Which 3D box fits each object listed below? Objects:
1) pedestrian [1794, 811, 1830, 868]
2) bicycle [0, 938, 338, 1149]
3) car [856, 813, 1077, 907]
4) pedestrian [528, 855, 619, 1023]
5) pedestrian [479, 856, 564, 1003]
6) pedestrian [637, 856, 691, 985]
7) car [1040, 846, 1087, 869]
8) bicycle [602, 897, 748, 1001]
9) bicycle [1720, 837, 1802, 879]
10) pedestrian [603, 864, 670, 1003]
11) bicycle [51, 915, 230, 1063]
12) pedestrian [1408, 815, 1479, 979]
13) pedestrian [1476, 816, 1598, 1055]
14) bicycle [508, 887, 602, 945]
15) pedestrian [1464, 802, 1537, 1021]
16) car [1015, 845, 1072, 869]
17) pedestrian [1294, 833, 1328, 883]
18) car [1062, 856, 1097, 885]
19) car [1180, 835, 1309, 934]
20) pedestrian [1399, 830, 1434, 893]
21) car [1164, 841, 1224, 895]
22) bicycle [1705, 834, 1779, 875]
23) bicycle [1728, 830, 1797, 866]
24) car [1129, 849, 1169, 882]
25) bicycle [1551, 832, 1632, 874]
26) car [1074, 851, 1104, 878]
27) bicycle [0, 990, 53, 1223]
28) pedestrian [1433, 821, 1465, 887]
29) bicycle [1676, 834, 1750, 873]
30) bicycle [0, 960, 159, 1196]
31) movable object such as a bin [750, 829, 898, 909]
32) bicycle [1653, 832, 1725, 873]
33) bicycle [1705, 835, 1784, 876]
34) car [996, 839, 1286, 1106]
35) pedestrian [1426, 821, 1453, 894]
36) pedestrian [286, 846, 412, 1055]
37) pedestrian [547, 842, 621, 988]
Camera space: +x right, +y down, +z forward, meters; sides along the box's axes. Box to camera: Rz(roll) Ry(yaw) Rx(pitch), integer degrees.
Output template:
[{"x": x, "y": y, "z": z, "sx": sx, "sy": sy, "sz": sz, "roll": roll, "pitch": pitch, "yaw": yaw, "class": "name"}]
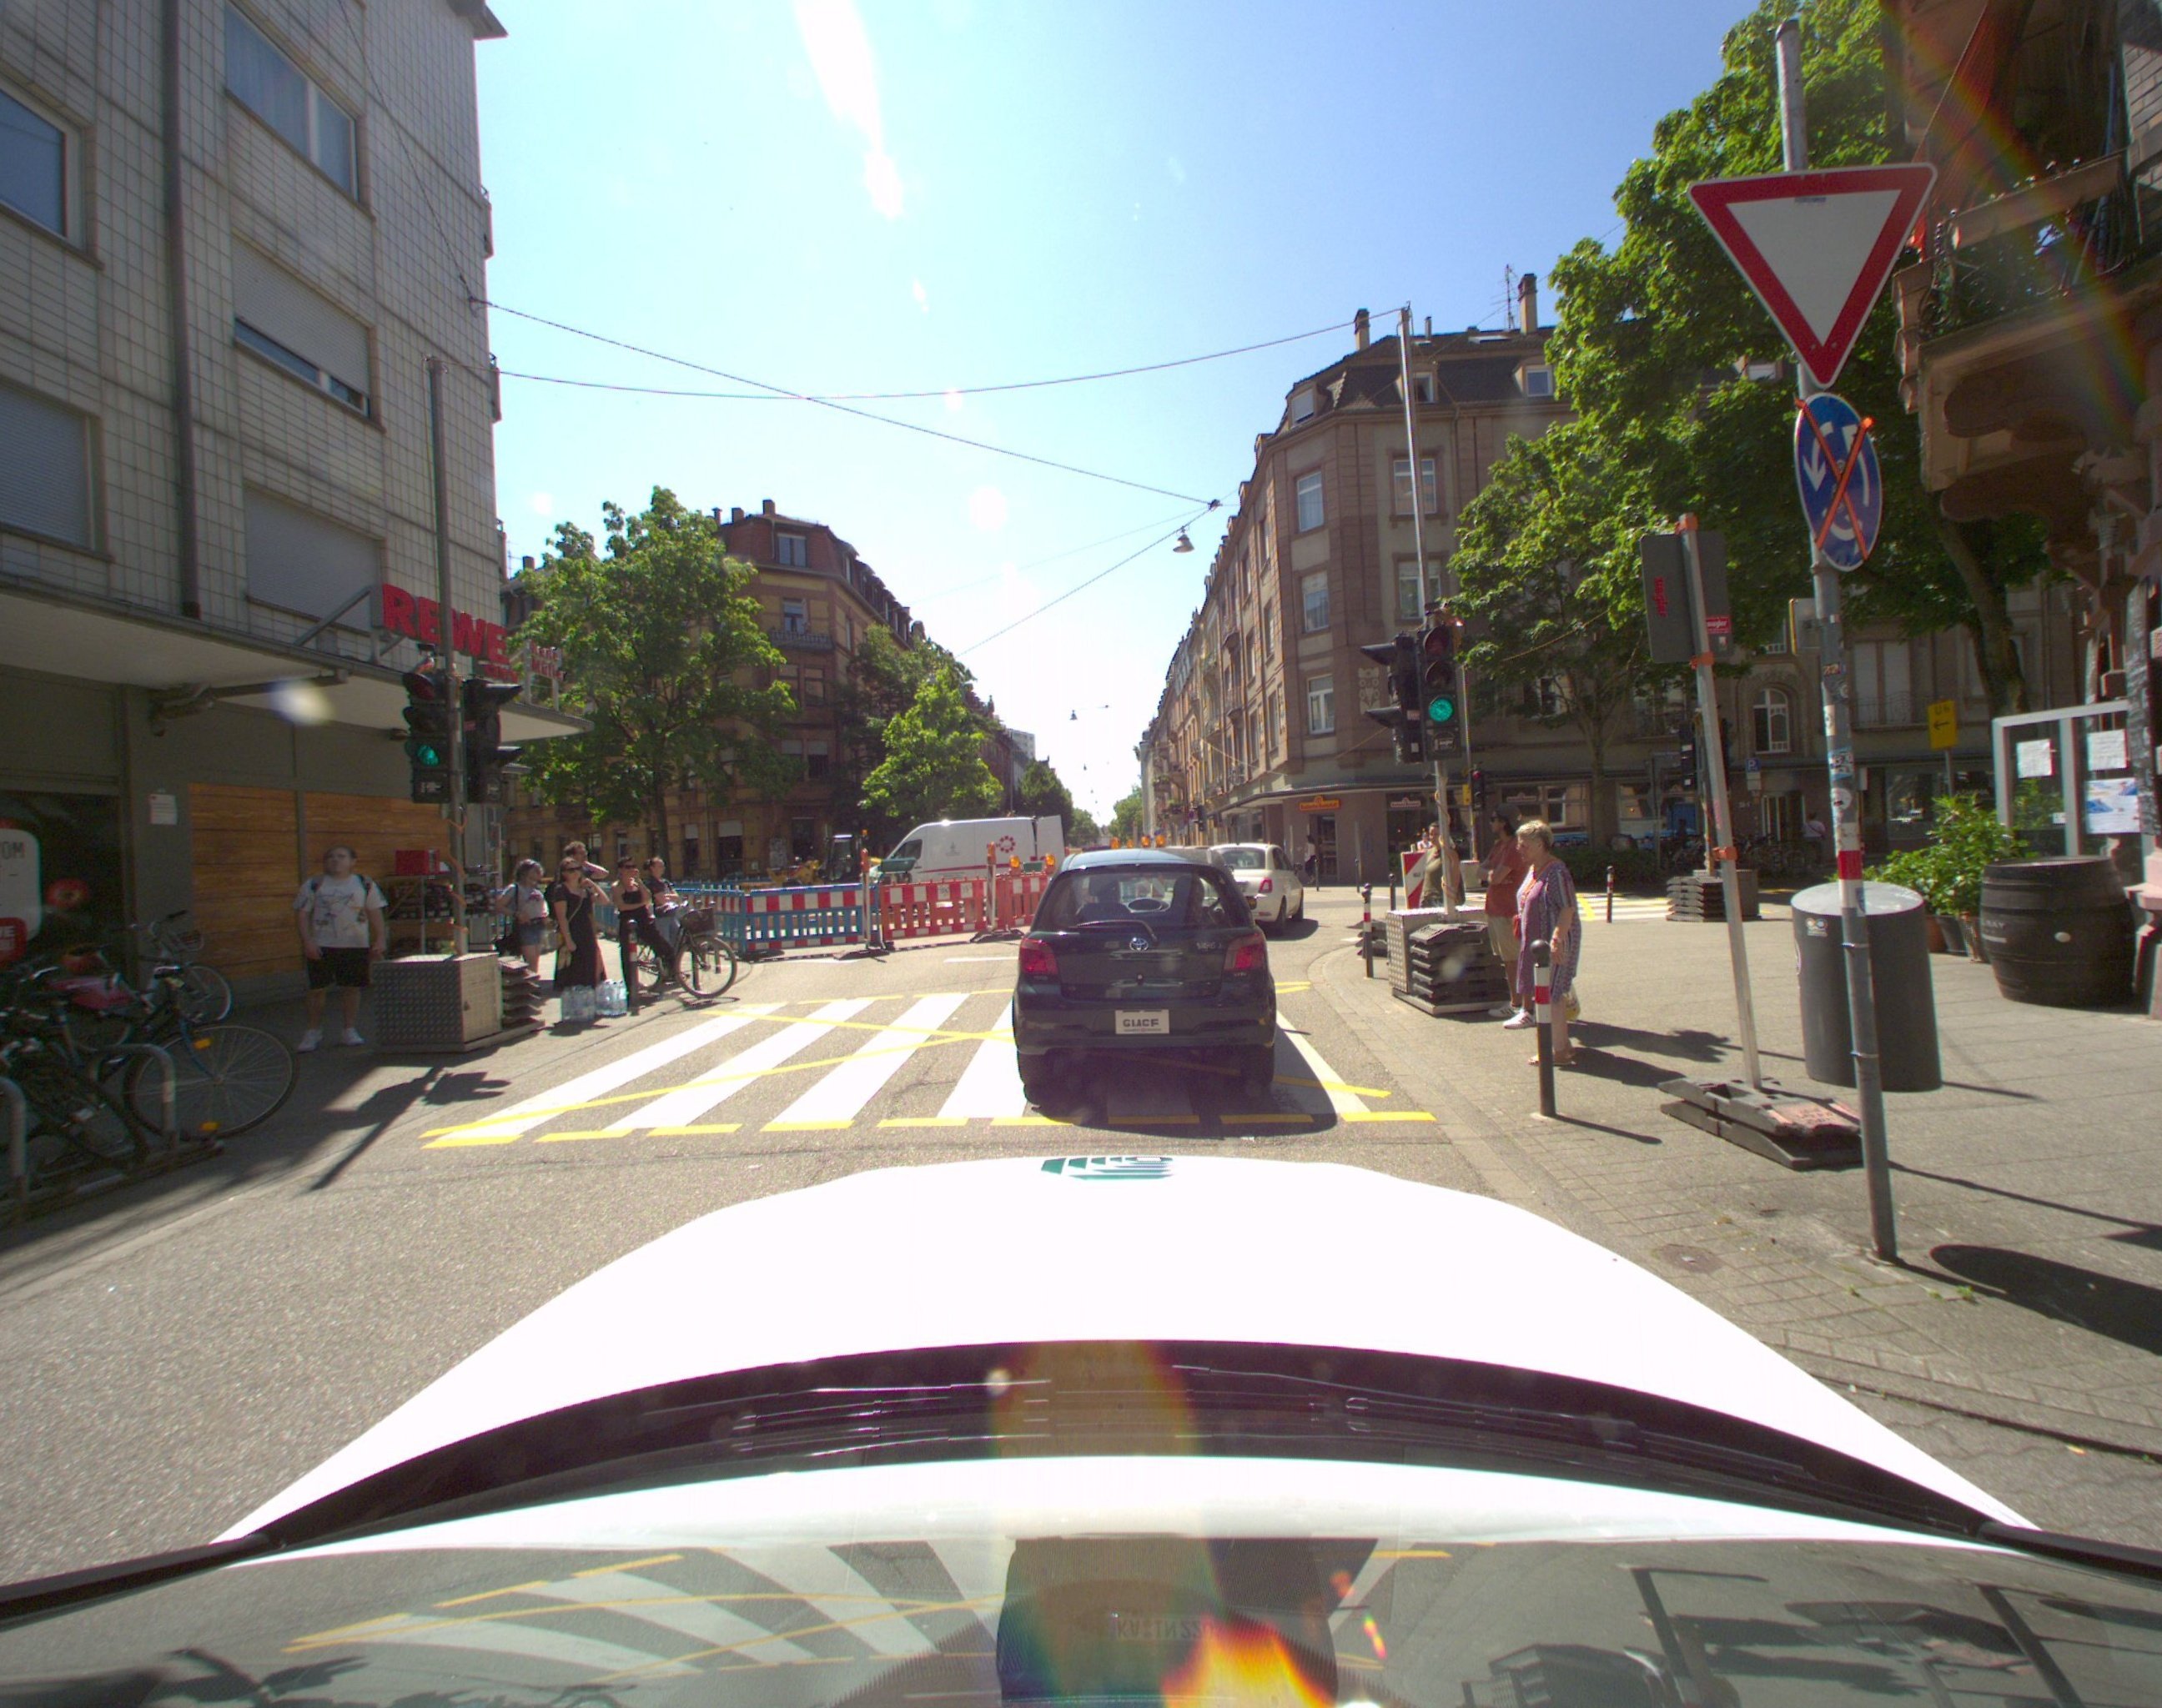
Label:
[{"x": 21.377, "y": -0.422, "z": 23.815, "sx": 0.488, "sy": 1.614, "sz": 0.560, "roll": -3, "pitch": 0, "yaw": 6, "class": "pedestrian"}, {"x": -5.757, "y": 1.125, "z": 4.990, "sx": 1.794, "sy": 1.123, "sz": 0.577, "roll": -1, "pitch": 0, "yaw": -5, "class": "bicycle"}, {"x": -3.523, "y": 0.177, "z": 26.061, "sx": 6.594, "sy": 2.751, "sz": 2.381, "roll": -1, "pitch": 0, "yaw": 2, "class": "car"}, {"x": -5.180, "y": 0.842, "z": 8.332, "sx": 0.539, "sy": 1.633, "sz": 0.511, "roll": -3, "pitch": 0, "yaw": -1, "class": "pedestrian"}, {"x": -6.474, "y": 0.849, "z": 9.447, "sx": 0.507, "sy": 1.633, "sz": 0.599, "roll": -3, "pitch": 0, "yaw": -1, "class": "pedestrian"}, {"x": -5.435, "y": 0.847, "z": 10.619, "sx": 0.388, "sy": 1.618, "sz": 0.475, "roll": -3, "pitch": 0, "yaw": -1, "class": "pedestrian"}, {"x": -1.924, "y": 0.385, "z": 87.875, "sx": 4.581, "sy": 2.187, "sz": 1.983, "roll": -2, "pitch": 0, "yaw": -26, "class": "car"}, {"x": -4.821, "y": 1.090, "z": 9.641, "sx": 1.789, "sy": 1.119, "sz": 0.470, "roll": -1, "pitch": 0, "yaw": 23, "class": "bicycle"}, {"x": 17.547, "y": 0.099, "z": 21.014, "sx": 1.756, "sy": 0.996, "sz": 0.470, "roll": -3, "pitch": 2, "yaw": -3, "class": "bicycle"}, {"x": -5.179, "y": 0.901, "z": 9.502, "sx": 0.491, "sy": 1.565, "sz": 0.462, "roll": -1, "pitch": 1, "yaw": 28, "class": "pedestrian"}, {"x": -8.471, "y": 1.165, "z": 7.405, "sx": 0.321, "sy": 1.086, "sz": 1.424, "roll": -2, "pitch": 1, "yaw": -17, "class": "bicycle"}, {"x": 3.574, "y": 0.411, "z": 8.059, "sx": 0.457, "sy": 1.560, "sz": 0.480, "roll": -3, "pitch": 0, "yaw": 7, "class": "pedestrian"}, {"x": 3.109, "y": 0.540, "z": 5.590, "sx": 0.490, "sy": 1.543, "sz": 0.437, "roll": -5, "pitch": -1, "yaw": 7, "class": "pedestrian"}, {"x": -10.887, "y": 1.269, "z": 16.891, "sx": 1.573, "sy": 1.072, "sz": 0.341, "roll": -3, "pitch": 0, "yaw": -16, "class": "bicycle"}, {"x": 3.314, "y": 0.444, "z": 6.454, "sx": 0.330, "sy": 1.675, "sz": 0.402, "roll": -3, "pitch": 0, "yaw": 8, "class": "pedestrian"}, {"x": -3.489, "y": 0.292, "z": 75.681, "sx": 4.800, "sy": 1.994, "sz": 2.035, "roll": -2, "pitch": 0, "yaw": -27, "class": "car"}, {"x": 7.696, "y": 0.132, "z": 27.248, "sx": 0.646, "sy": 1.623, "sz": 0.794, "roll": -3, "pitch": 0, "yaw": -41, "class": "pedestrian"}, {"x": -0.031, "y": 0.895, "z": 45.923, "sx": 1.748, "sy": 1.444, "sz": 4.002, "roll": -3, "pitch": 0, "yaw": 2, "class": "car"}, {"x": 2.983, "y": 0.459, "z": 14.391, "sx": 1.509, "sy": 1.521, "sz": 3.282, "roll": -3, "pitch": 0, "yaw": 23, "class": "car"}, {"x": 9.253, "y": 0.196, "z": 22.455, "sx": 0.701, "sy": 1.645, "sz": 0.422, "roll": -5, "pitch": 3, "yaw": -7, "class": "pedestrian"}, {"x": 3.682, "y": 0.430, "z": 27.040, "sx": 1.517, "sy": 1.592, "sz": 3.264, "roll": -3, "pitch": 0, "yaw": 1, "class": "car"}, {"x": 18.095, "y": 0.004, "z": 22.295, "sx": 1.679, "sy": 1.005, "sz": 0.470, "roll": -3, "pitch": 2, "yaw": -3, "class": "bicycle"}, {"x": 20.796, "y": -0.190, "z": 24.853, "sx": 1.756, "sy": 0.996, "sz": 0.470, "roll": -3, "pitch": 2, "yaw": -3, "class": "bicycle"}, {"x": 3.327, "y": 0.523, "z": 39.316, "sx": 1.618, "sy": 1.432, "sz": 3.669, "roll": -4, "pitch": 0, "yaw": 8, "class": "car"}, {"x": 15.421, "y": -0.027, "z": 24.632, "sx": 1.964, "sy": 1.132, "sz": 0.519, "roll": -3, "pitch": 2, "yaw": 19, "class": "bicycle"}, {"x": 0.602, "y": 0.696, "z": 55.599, "sx": 1.748, "sy": 1.645, "sz": 4.380, "roll": -6, "pitch": 0, "yaw": 2, "class": "car"}, {"x": -5.691, "y": 1.182, "z": 3.736, "sx": 1.444, "sy": 1.036, "sz": 0.335, "roll": 0, "pitch": 0, "yaw": -3, "class": "bicycle"}, {"x": 10.273, "y": -0.012, "z": 22.735, "sx": 0.574, "sy": 1.768, "sz": 0.470, "roll": -5, "pitch": 3, "yaw": -7, "class": "pedestrian"}, {"x": 17.917, "y": -0.028, "z": 23.092, "sx": 1.756, "sy": 0.996, "sz": 0.470, "roll": -3, "pitch": 2, "yaw": -3, "class": "bicycle"}, {"x": -5.728, "y": 1.139, "z": 4.188, "sx": 1.515, "sy": 1.117, "sz": 0.335, "roll": 0, "pitch": 0, "yaw": -3, "class": "bicycle"}, {"x": -8.976, "y": 0.513, "z": 28.710, "sx": 4.528, "sy": 2.659, "sz": 1.955, "roll": -1, "pitch": 0, "yaw": 0, "class": "movable object such as a bin"}, {"x": 17.637, "y": -0.044, "z": 23.633, "sx": 1.756, "sy": 1.080, "sz": 0.470, "roll": -3, "pitch": 2, "yaw": -3, "class": "bicycle"}, {"x": 17.664, "y": 0.037, "z": 21.699, "sx": 1.756, "sy": 0.996, "sz": 0.470, "roll": -3, "pitch": 2, "yaw": -3, "class": "bicycle"}, {"x": 0.484, "y": 0.663, "z": 6.283, "sx": 1.606, "sy": 1.485, "sz": 3.246, "roll": -2, "pitch": 1, "yaw": 5, "class": "car"}, {"x": 8.889, "y": 0.089, "z": 20.217, "sx": 0.473, "sy": 1.732, "sz": 0.876, "roll": -3, "pitch": -1, "yaw": 21, "class": "pedestrian"}, {"x": -6.520, "y": 0.826, "z": 7.278, "sx": 0.507, "sy": 1.770, "sz": 0.599, "roll": -3, "pitch": 0, "yaw": -1, "class": "pedestrian"}, {"x": -6.422, "y": 0.766, "z": 10.541, "sx": 0.507, "sy": 1.820, "sz": 0.599, "roll": -3, "pitch": 0, "yaw": -1, "class": "pedestrian"}]
